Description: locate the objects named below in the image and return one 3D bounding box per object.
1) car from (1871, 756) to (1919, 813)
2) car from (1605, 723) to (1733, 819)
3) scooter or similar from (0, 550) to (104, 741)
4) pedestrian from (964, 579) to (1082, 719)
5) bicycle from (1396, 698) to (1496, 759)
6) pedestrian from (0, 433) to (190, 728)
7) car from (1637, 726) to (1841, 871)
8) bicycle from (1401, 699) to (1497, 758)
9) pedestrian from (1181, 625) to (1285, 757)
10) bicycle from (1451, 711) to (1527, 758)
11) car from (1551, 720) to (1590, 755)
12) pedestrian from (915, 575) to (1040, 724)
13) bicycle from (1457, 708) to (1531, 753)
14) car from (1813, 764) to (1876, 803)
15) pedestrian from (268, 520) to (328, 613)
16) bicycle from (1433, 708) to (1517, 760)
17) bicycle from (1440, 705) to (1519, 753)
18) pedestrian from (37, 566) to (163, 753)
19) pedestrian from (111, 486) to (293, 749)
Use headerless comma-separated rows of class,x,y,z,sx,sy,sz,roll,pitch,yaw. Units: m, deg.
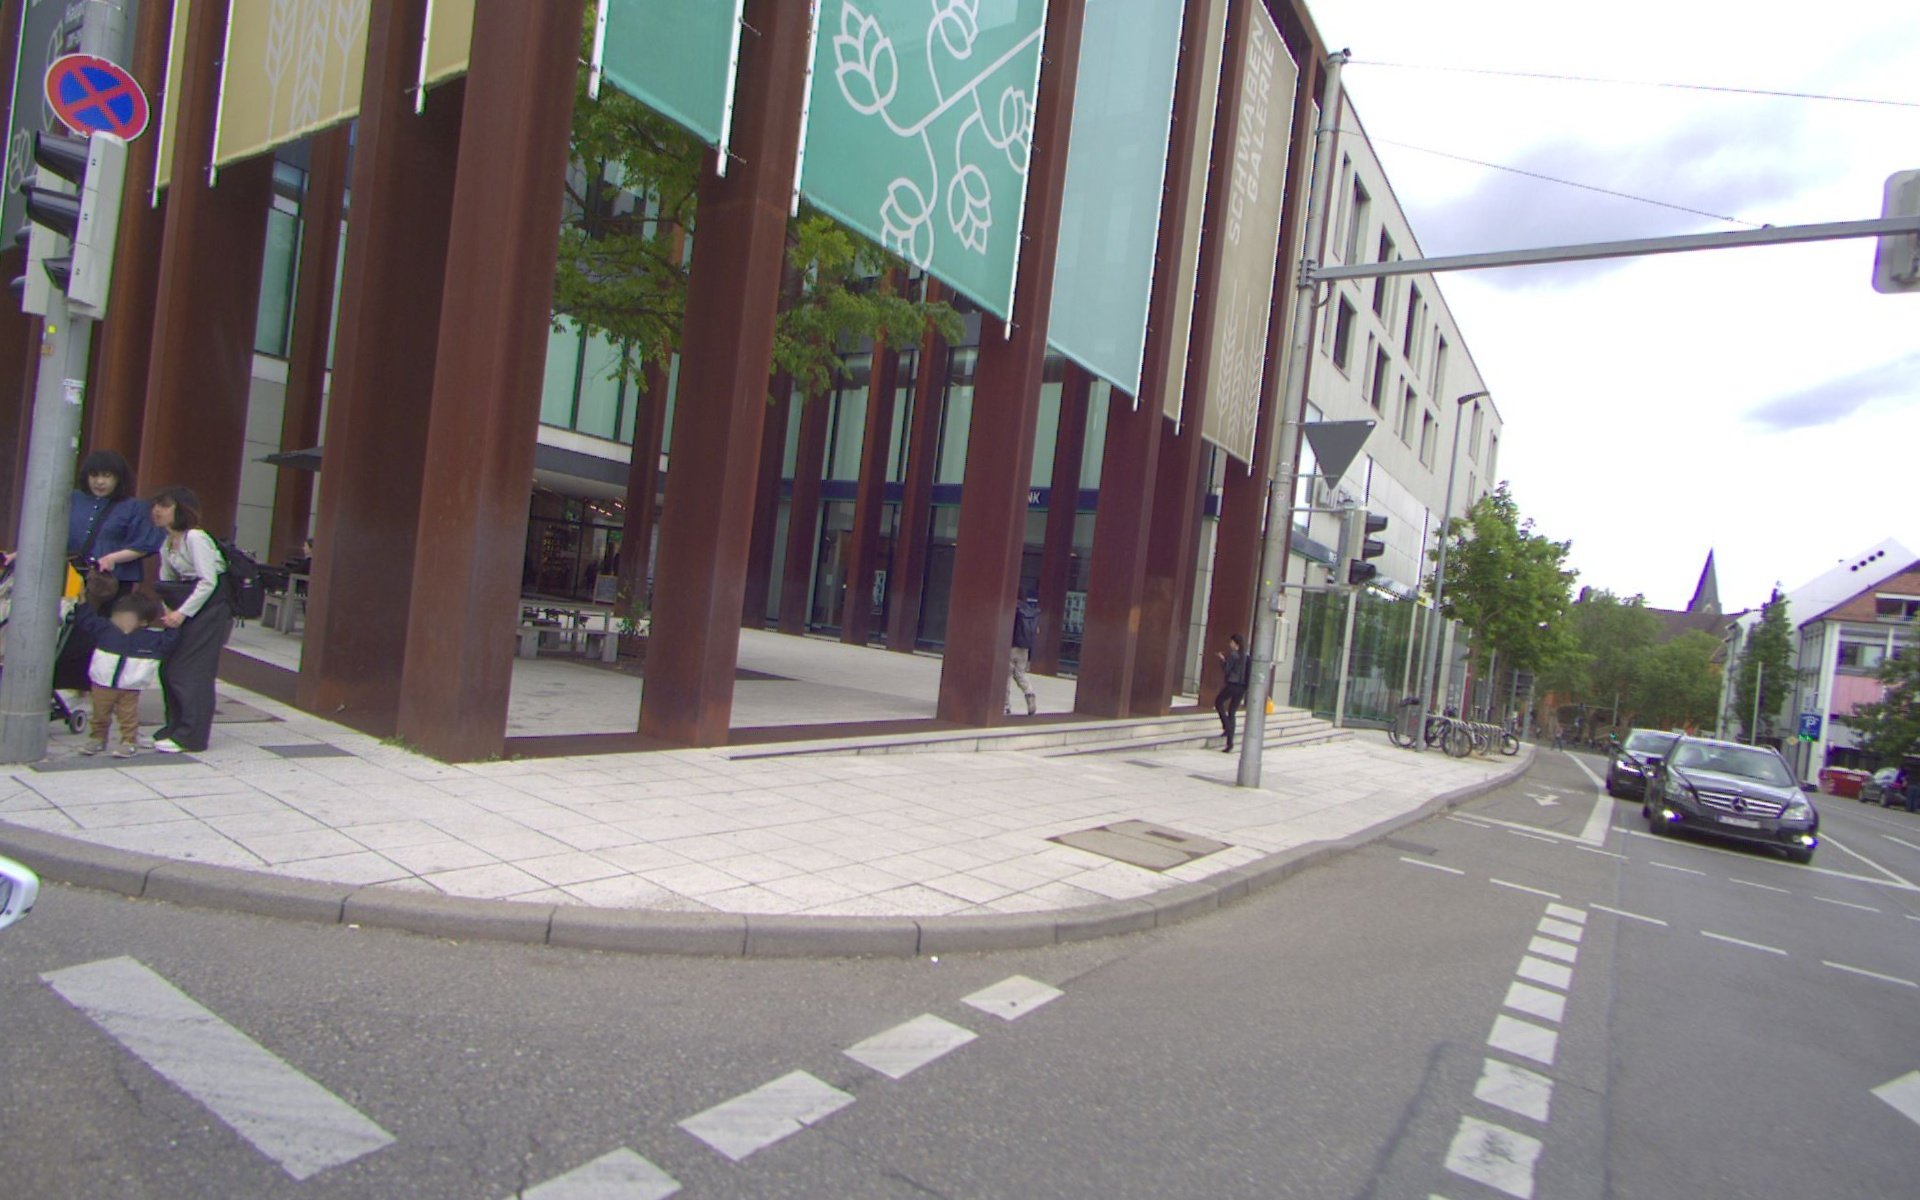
car,38.819,7.561,41.053,1.698,2.036,3.734,10,-1,35
car,14.678,3.463,21.039,1.771,1.420,4.542,8,-1,32
scooter or similar,-5.388,0.230,5.654,0.626,0.973,0.617,7,1,-21
pedestrian,0.854,0.657,13.539,1.102,1.702,0.879,8,1,32
bicycle,11.705,3.076,24.259,1.960,1.115,0.719,8,1,35
pedestrian,-5.549,-0.123,6.274,0.861,1.667,0.677,8,1,-21
car,11.101,2.724,14.628,1.771,1.420,4.179,8,-1,32
bicycle,12.202,3.181,25.113,1.960,1.115,0.719,8,1,35
pedestrian,4.146,1.361,15.239,1.102,1.789,0.879,8,1,32
bicycle,16.714,4.234,31.812,1.960,1.115,0.719,8,1,35
car,36.765,8.237,60.552,1.771,1.673,4.453,8,-1,32
pedestrian,0.227,0.627,12.839,1.102,1.702,0.879,8,1,32
bicycle,17.429,4.248,32.852,1.960,1.115,0.719,8,1,35
car,43.394,8.993,49.436,1.698,1.410,3.734,10,-1,35
pedestrian,-9.421,-0.476,14.314,0.597,1.235,0.447,8,1,39
bicycle,14.756,3.818,28.834,1.960,1.115,0.719,8,1,35
bicycle,15.973,3.962,30.953,1.960,1.115,0.719,8,1,35
pedestrian,-4.672,0.320,5.465,0.447,0.935,0.361,9,1,38
pedestrian,-4.482,0.107,5.954,0.573,1.437,0.601,9,1,37
